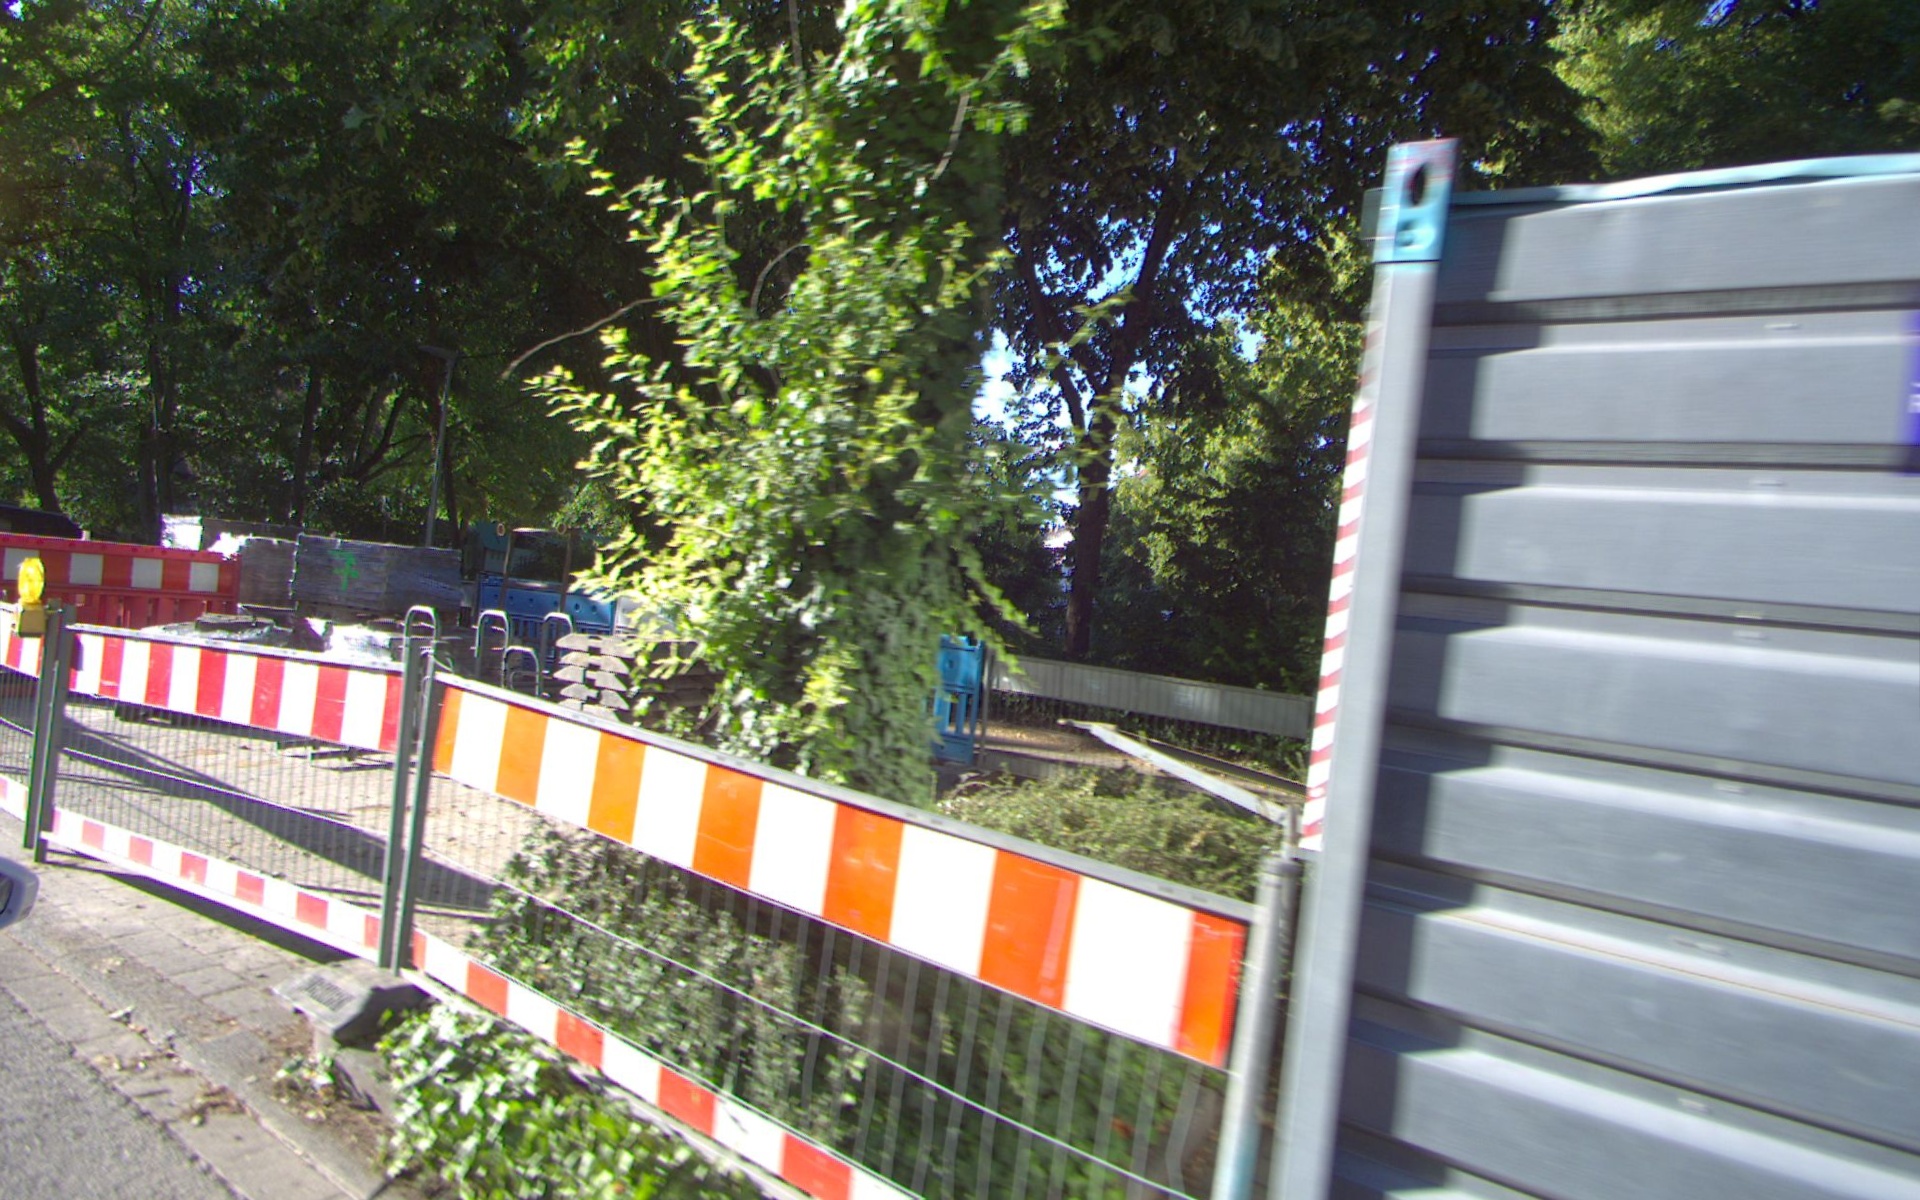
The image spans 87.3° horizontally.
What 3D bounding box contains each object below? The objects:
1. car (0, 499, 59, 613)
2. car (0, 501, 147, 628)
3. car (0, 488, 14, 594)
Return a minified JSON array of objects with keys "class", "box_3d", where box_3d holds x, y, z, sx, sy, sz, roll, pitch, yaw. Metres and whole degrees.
[{"class":"car","box_3d":[-16.511,-0.926,14.769,1.884,1.721,4.400,5,-3,28]},{"class":"car","box_3d":[-14.296,-0.665,13.803,1.883,1.624,4.401,5,-3,27]},{"class":"car","box_3d":[-18.760,-1.253,16.113,1.884,2.019,4.756,5,-3,27]}]
